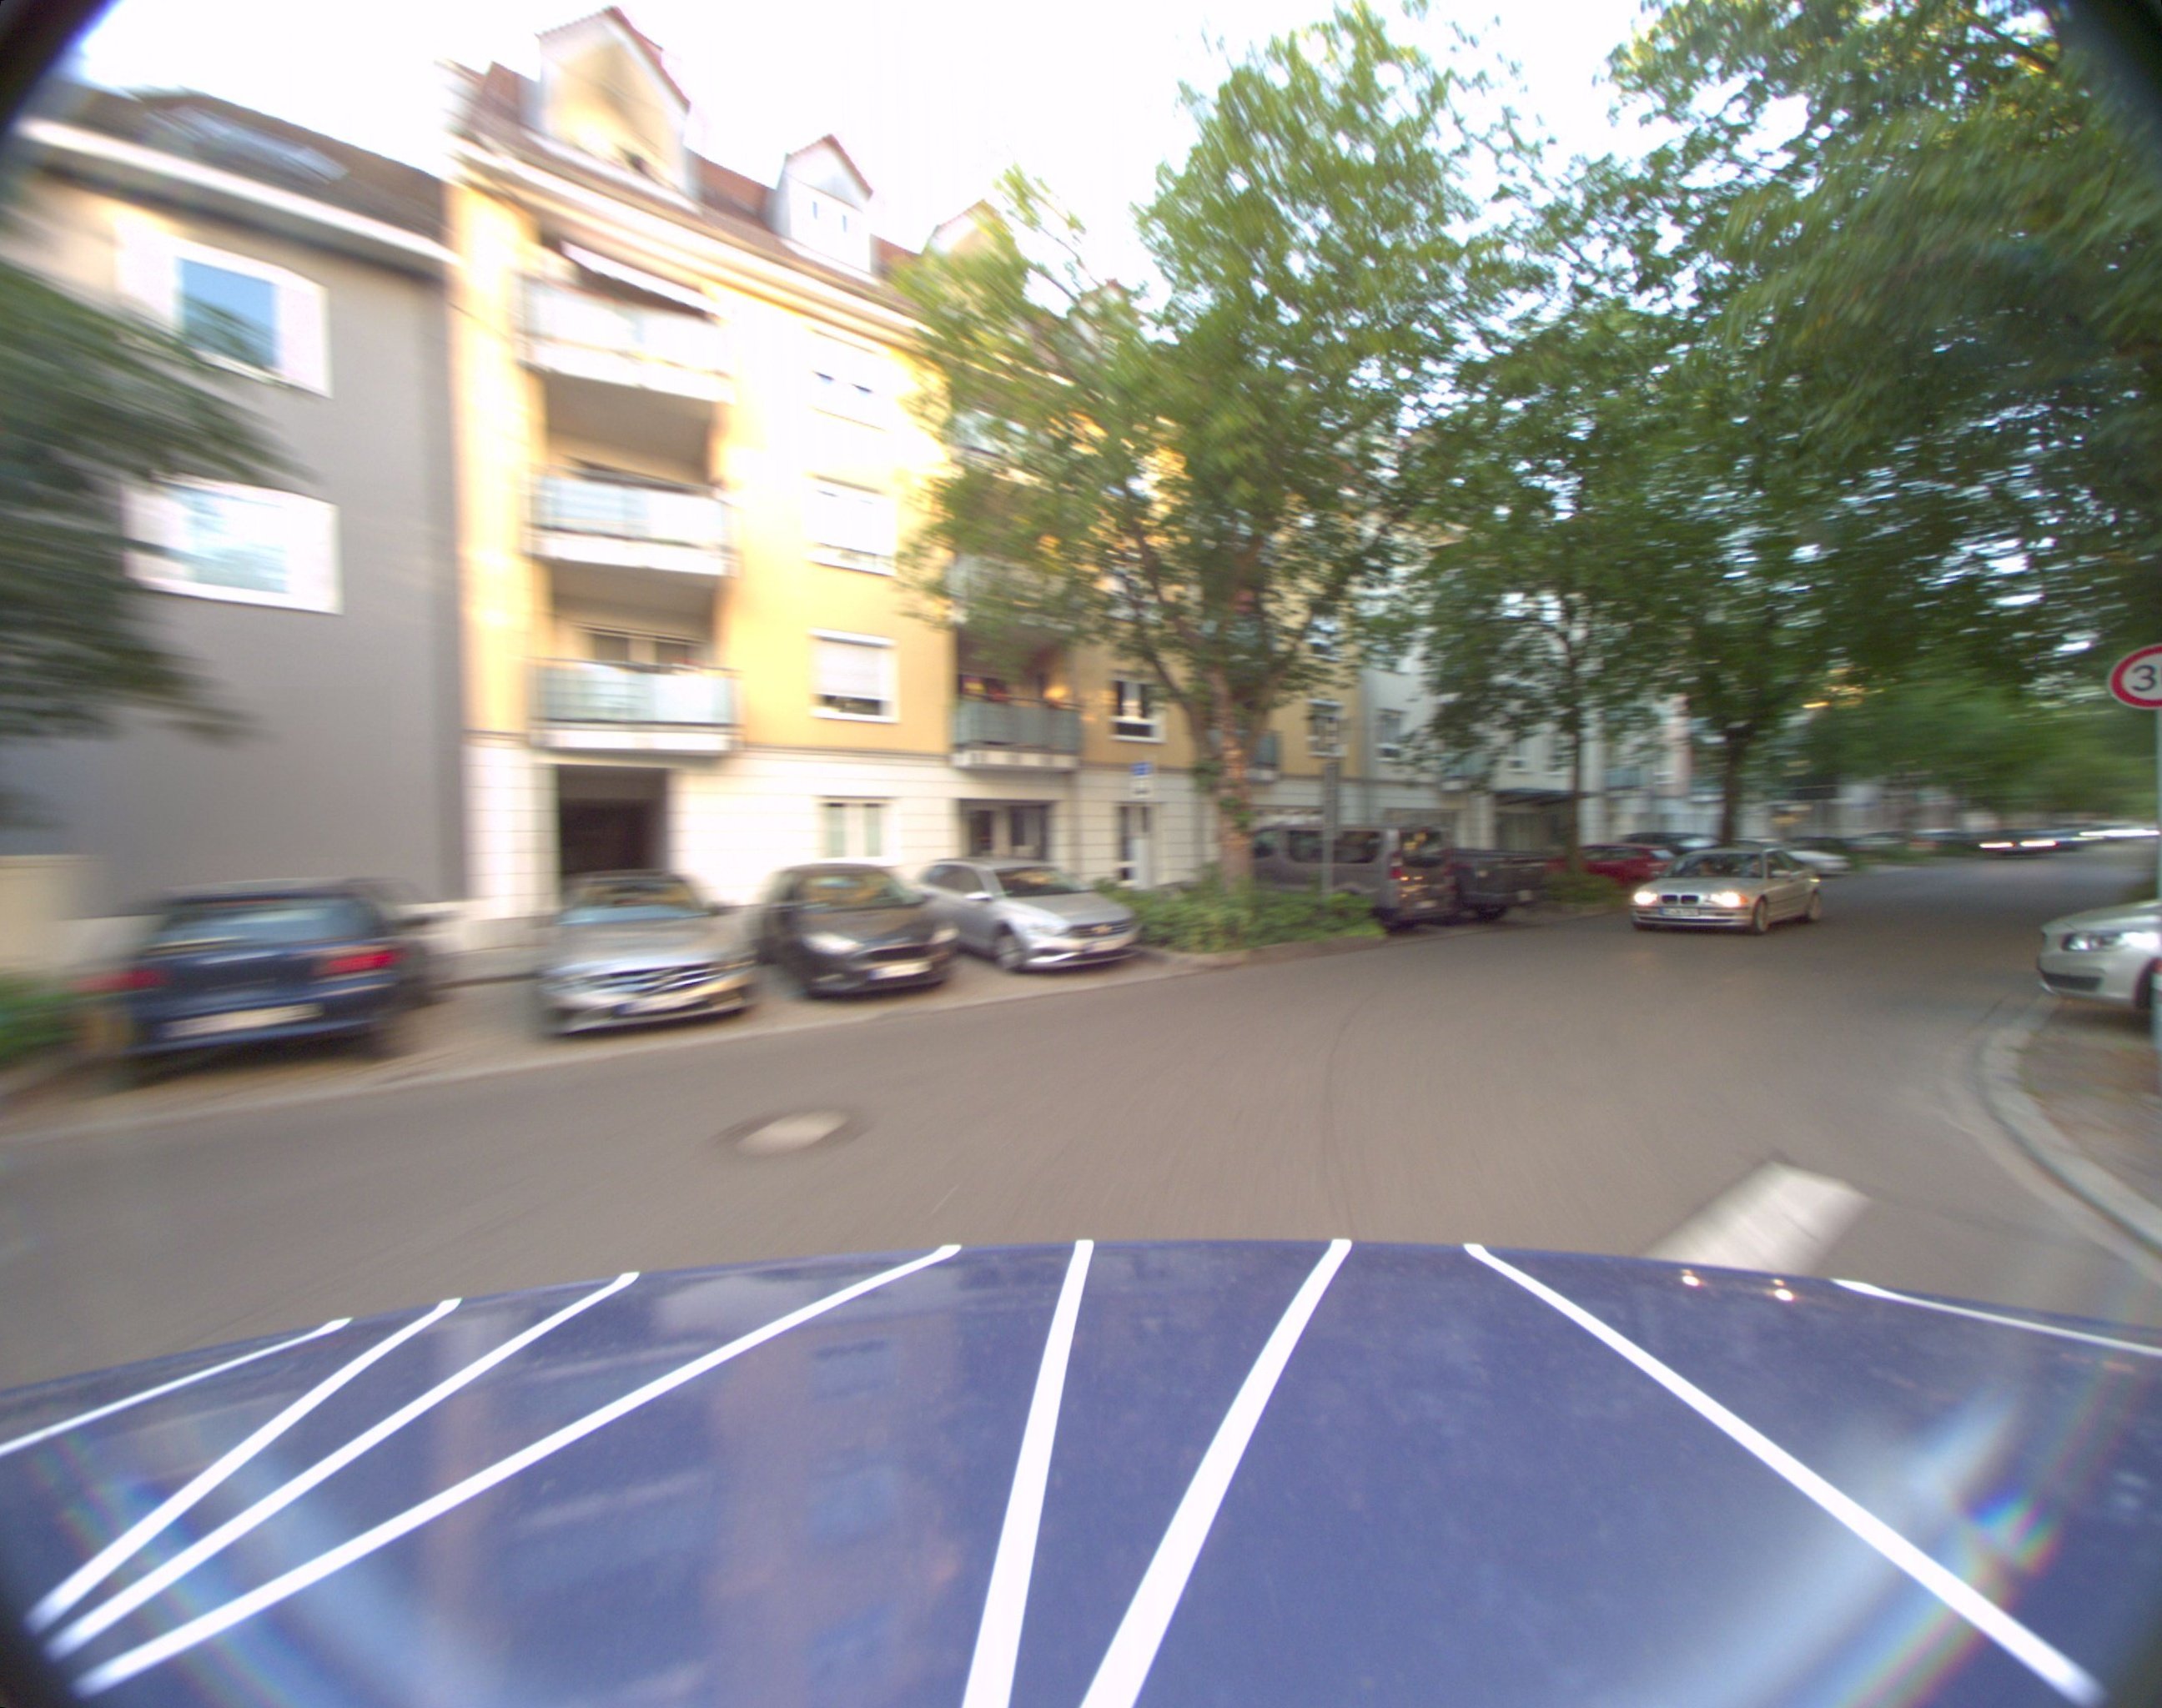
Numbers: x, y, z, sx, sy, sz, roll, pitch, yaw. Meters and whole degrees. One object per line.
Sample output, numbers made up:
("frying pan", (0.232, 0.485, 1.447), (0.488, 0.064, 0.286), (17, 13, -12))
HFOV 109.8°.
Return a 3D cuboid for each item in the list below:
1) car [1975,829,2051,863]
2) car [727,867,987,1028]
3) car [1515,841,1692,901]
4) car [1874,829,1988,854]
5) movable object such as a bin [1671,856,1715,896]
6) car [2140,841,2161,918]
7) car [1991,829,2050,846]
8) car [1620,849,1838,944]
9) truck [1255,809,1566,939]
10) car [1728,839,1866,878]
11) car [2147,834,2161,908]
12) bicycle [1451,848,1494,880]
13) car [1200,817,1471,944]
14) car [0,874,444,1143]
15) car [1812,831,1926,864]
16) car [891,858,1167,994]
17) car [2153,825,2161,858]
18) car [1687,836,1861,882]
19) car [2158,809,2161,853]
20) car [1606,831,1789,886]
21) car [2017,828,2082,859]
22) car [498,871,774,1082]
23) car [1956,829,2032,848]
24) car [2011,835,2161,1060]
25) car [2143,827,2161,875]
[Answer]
("car", (48.937, -0.432, 39.882), (4.006, 1.635, 1.890), (-2, 0, -30))
("car", (-3.203, 0.964, 10.020), (1.994, 1.511, 4.786), (-2, 0, -33))
("car", (14.932, 0.457, 21.892), (1.881, 1.535, 3.779), (-2, 0, -35))
("car", (53.779, -0.845, 48.177), (2.014, 1.419, 4.461), (-2, 3, -30))
("movable object such as a bin", (17.846, 0.630, 22.161), (0.787, 1.078, 0.761), (-2, 3, -33))
("car", (22.292, 0.457, 13.322), (1.882, 1.421, 4.290), (-2, 1, -34))
("car", (95.417, -1.678, 77.216), (1.758, 1.544, 3.724), (-2, 1, -37))
("car", (11.443, 0.638, 13.337), (4.340, 1.363, 1.733), (-1, 1, -33))
("truck", (6.780, 0.341, 16.483), (2.216, 2.297, 5.892), (-2, 1, -34))
("car", (31.085, 0.123, 33.083), (1.938, 1.443, 4.083), (-2, 4, -39))
("car", (24.551, 0.328, 14.936), (1.932, 1.556, 3.991), (-2, 1, -29))
("bicycle", (13.294, 0.325, 25.781), (1.885, 1.031, 0.424), (-2, 2, -34))
("car", (4.752, 0.409, 14.829), (2.201, 2.054, 4.603), (-2, 1, -35))
("car", (-7.077, 1.021, 6.707), (1.835, 1.555, 3.541), (-2, 1, -34))
("car", (42.600, -0.399, 41.165), (1.920, 1.577, 3.970), (-2, 3, -35))
("car", (-1.010, 0.867, 11.427), (1.965, 1.494, 4.624), (-2, 2, -36))
("car", (55.228, -0.653, 36.129), (2.164, 1.612, 4.856), (-2, 1, -33))
("car", (26.376, 0.121, 29.092), (1.799, 1.460, 4.601), (-2, 4, -35))
("car", (65.500, -1.405, 43.112), (2.124, 2.558, 5.007), (-2, 1, -34))
("car", (21.702, 0.075, 26.927), (2.014, 1.609, 4.642), (-2, 4, -38))
("car", (60.801, -0.672, 47.696), (4.006, 1.838, 1.996), (-2, 0, -30))
("car", (-5.053, 1.025, 8.474), (2.014, 1.562, 4.625), (-2, 0, -35))
("car", (77.827, -1.322, 64.790), (1.801, 1.482, 4.084), (-2, 1, -37))
("car", (9.267, 0.618, 4.432), (2.078, 1.543, 4.623), (-2, 0, -32))
("car", (41.568, -0.165, 26.960), (2.003, 1.761, 4.508), (-2, 1, -36))
